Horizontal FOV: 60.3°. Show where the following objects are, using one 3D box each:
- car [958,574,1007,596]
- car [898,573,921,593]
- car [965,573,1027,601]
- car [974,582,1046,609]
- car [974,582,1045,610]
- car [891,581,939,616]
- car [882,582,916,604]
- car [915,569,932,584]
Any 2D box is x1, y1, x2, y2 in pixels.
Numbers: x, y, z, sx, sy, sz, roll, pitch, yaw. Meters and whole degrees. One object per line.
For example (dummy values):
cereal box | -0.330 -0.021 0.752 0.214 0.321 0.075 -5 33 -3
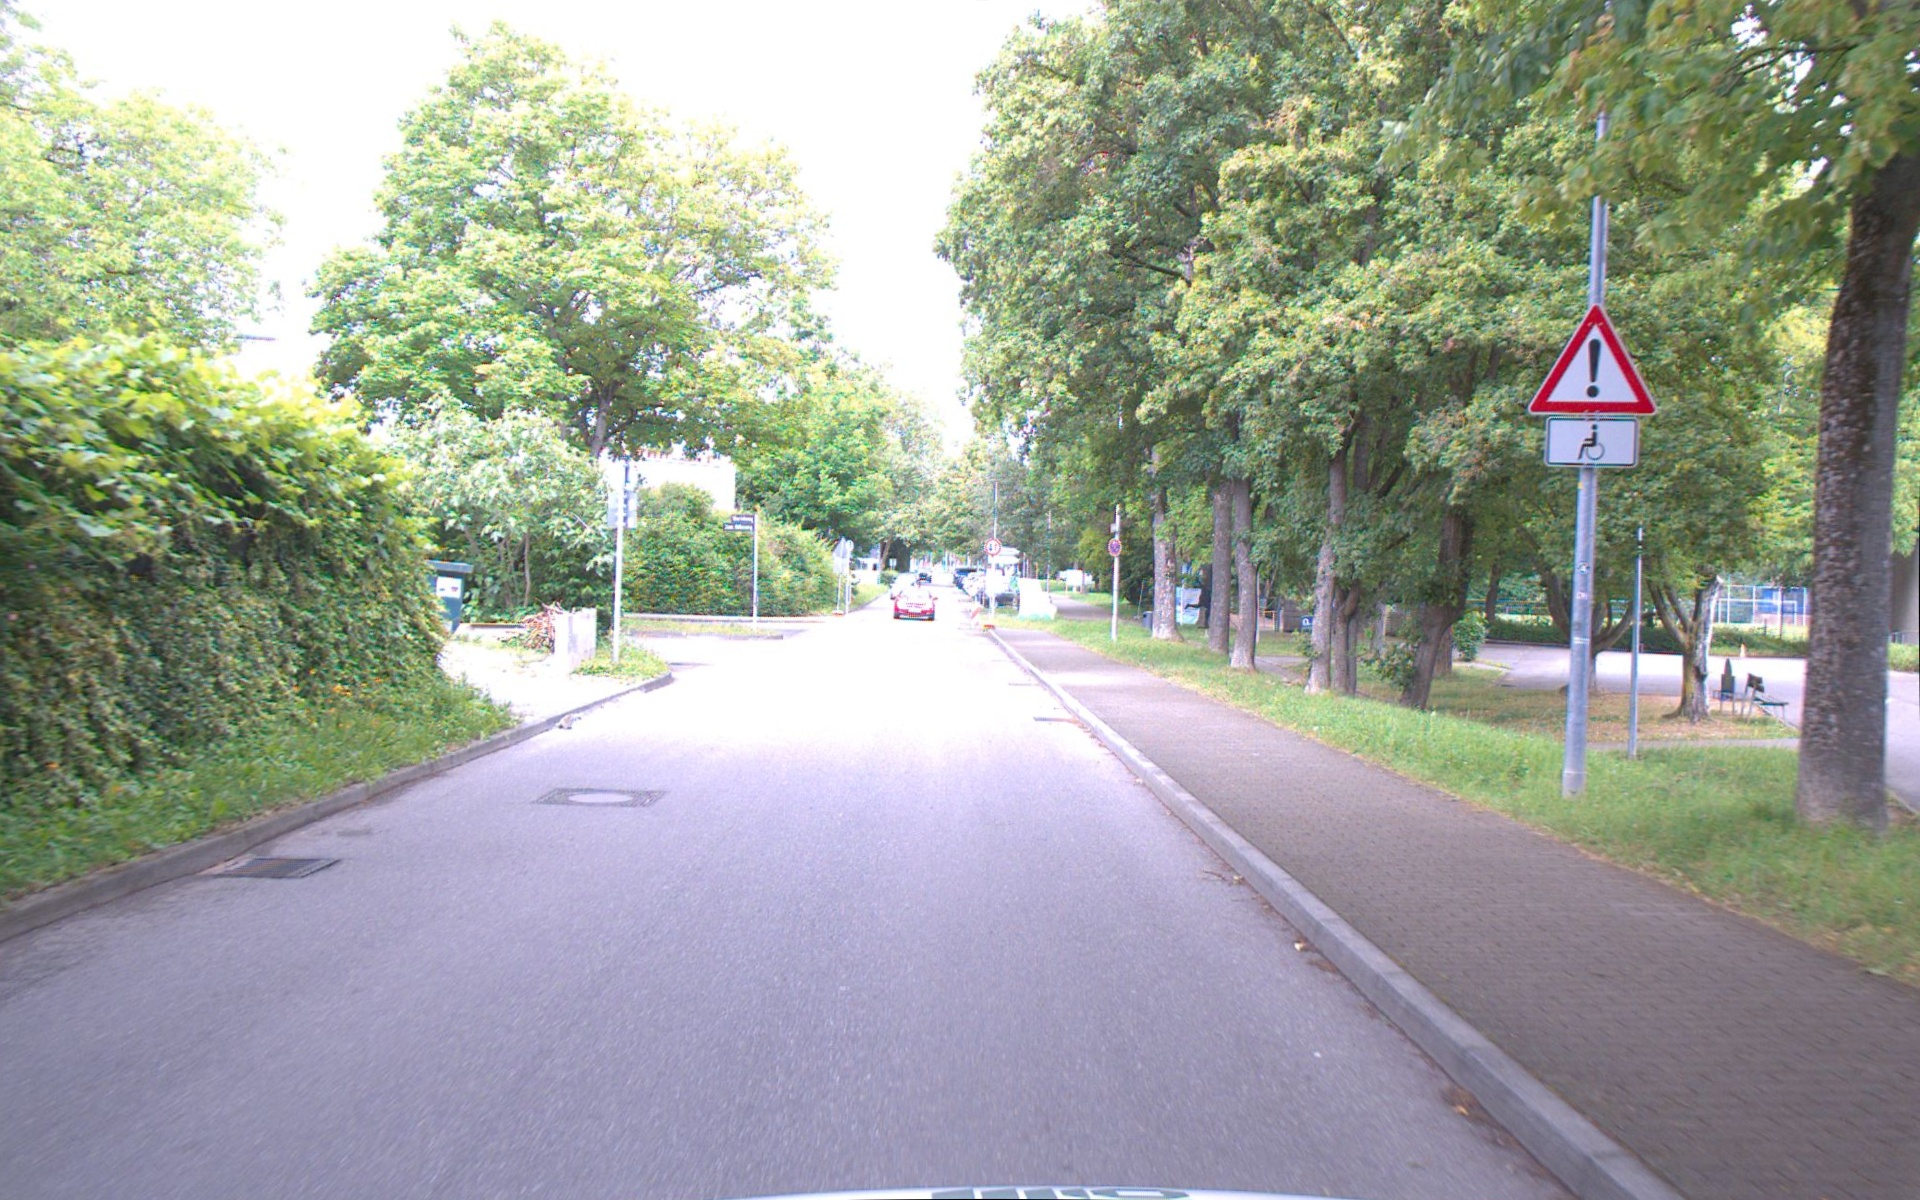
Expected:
car | 1.906 -1.264 140.769 3.983 1.717 1.821 -2 1 -5
car | -4.433 -1.524 146.294 1.766 1.619 4.296 2 1 1
car | 2.422 -0.896 111.264 3.983 1.717 1.821 -2 1 -5
car | 2.815 -0.245 93.522 3.981 1.459 1.999 0 -1 -2
car | 2.843 -0.229 95.784 3.981 1.596 1.822 0 -1 -2
car | -1.915 -0.088 68.998 1.716 1.359 4.061 2 1 -5
car | -4.032 -0.469 109.186 1.744 1.329 4.298 2 1 4
car | -4.383 -2.811 197.349 1.929 1.778 4.337 2 1 -2
